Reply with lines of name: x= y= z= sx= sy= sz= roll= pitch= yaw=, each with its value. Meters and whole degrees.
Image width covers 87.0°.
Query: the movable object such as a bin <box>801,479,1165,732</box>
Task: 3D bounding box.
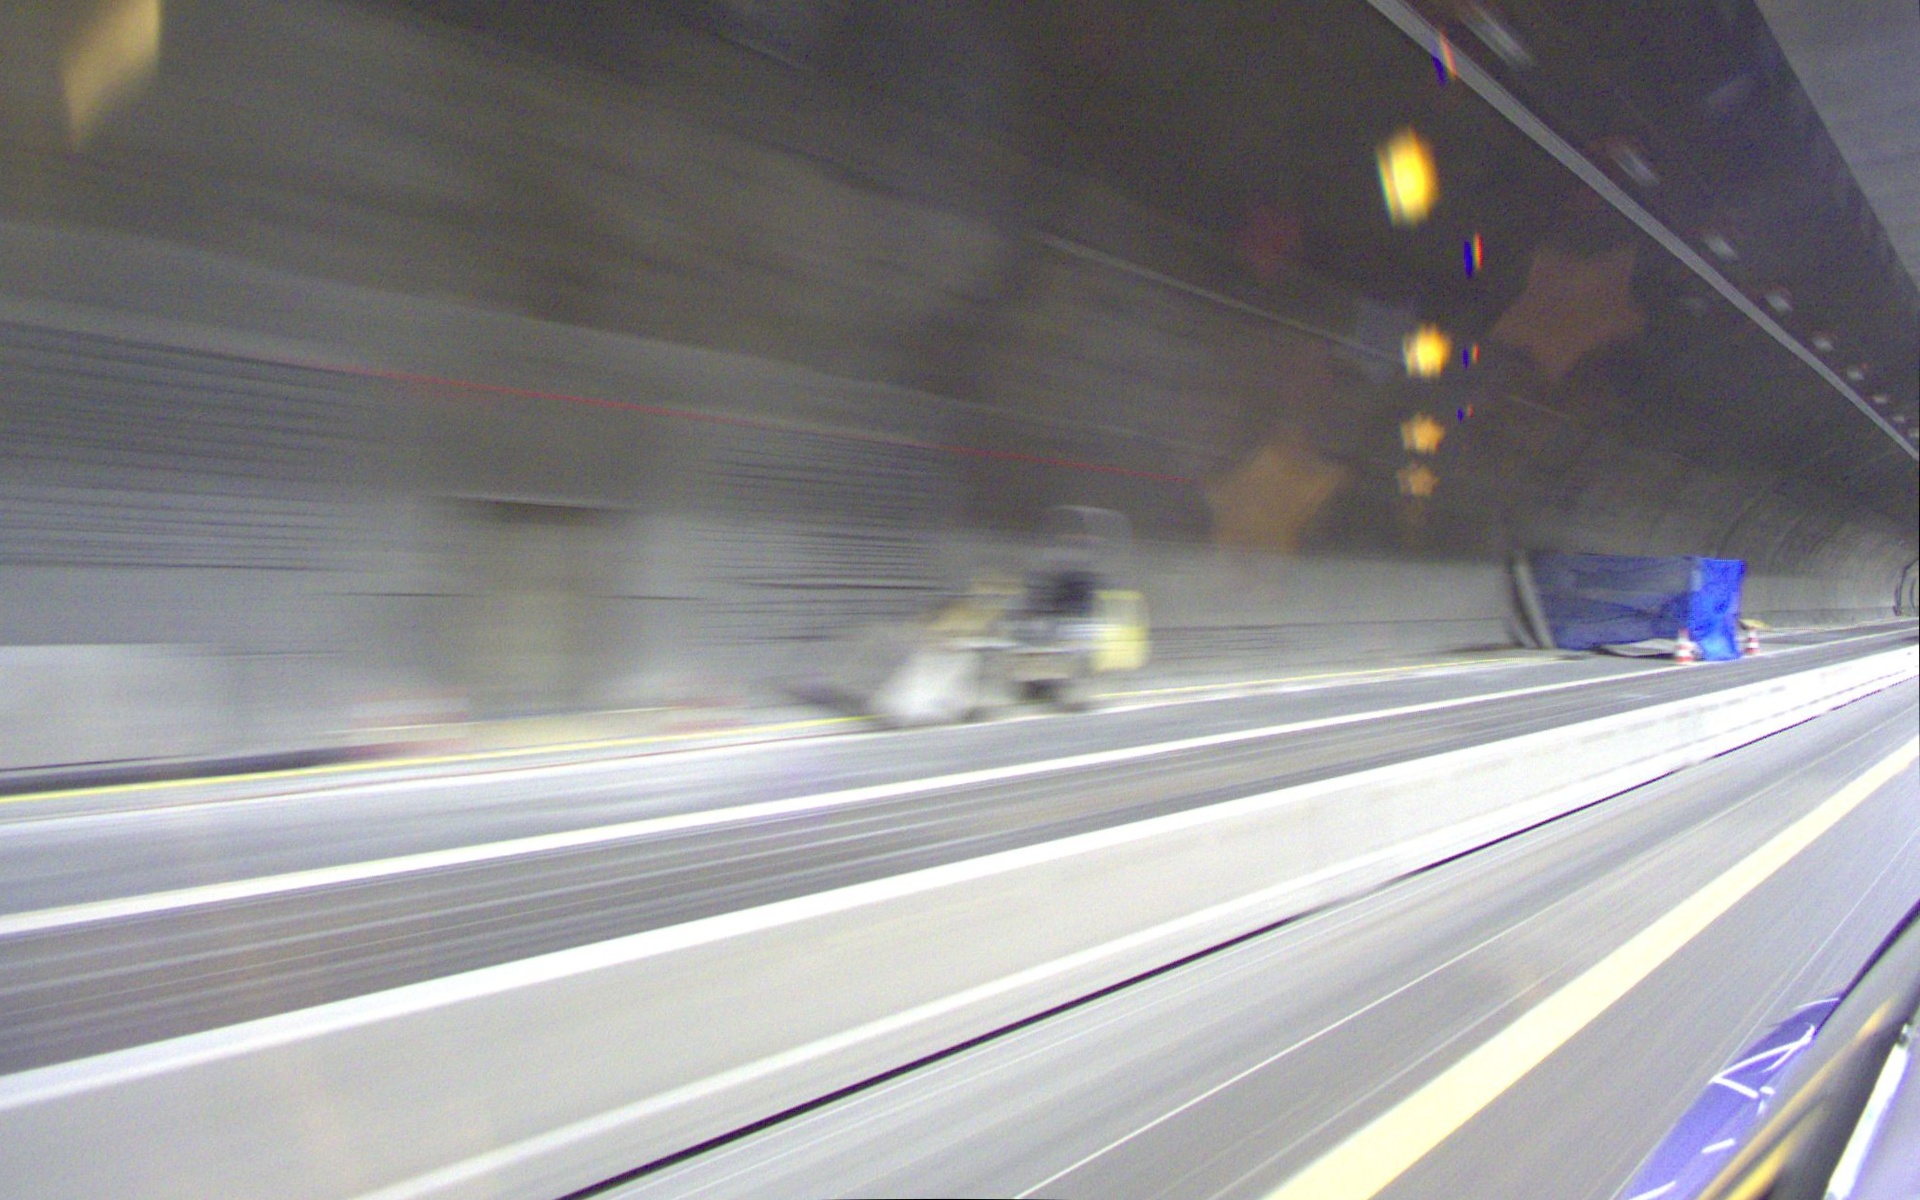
movable object such as a bin: x=0.369 y=-0.031 z=11.572 sx=3.931 sy=2.408 sz=1.760 roll=-1 pitch=5 yaw=-42
